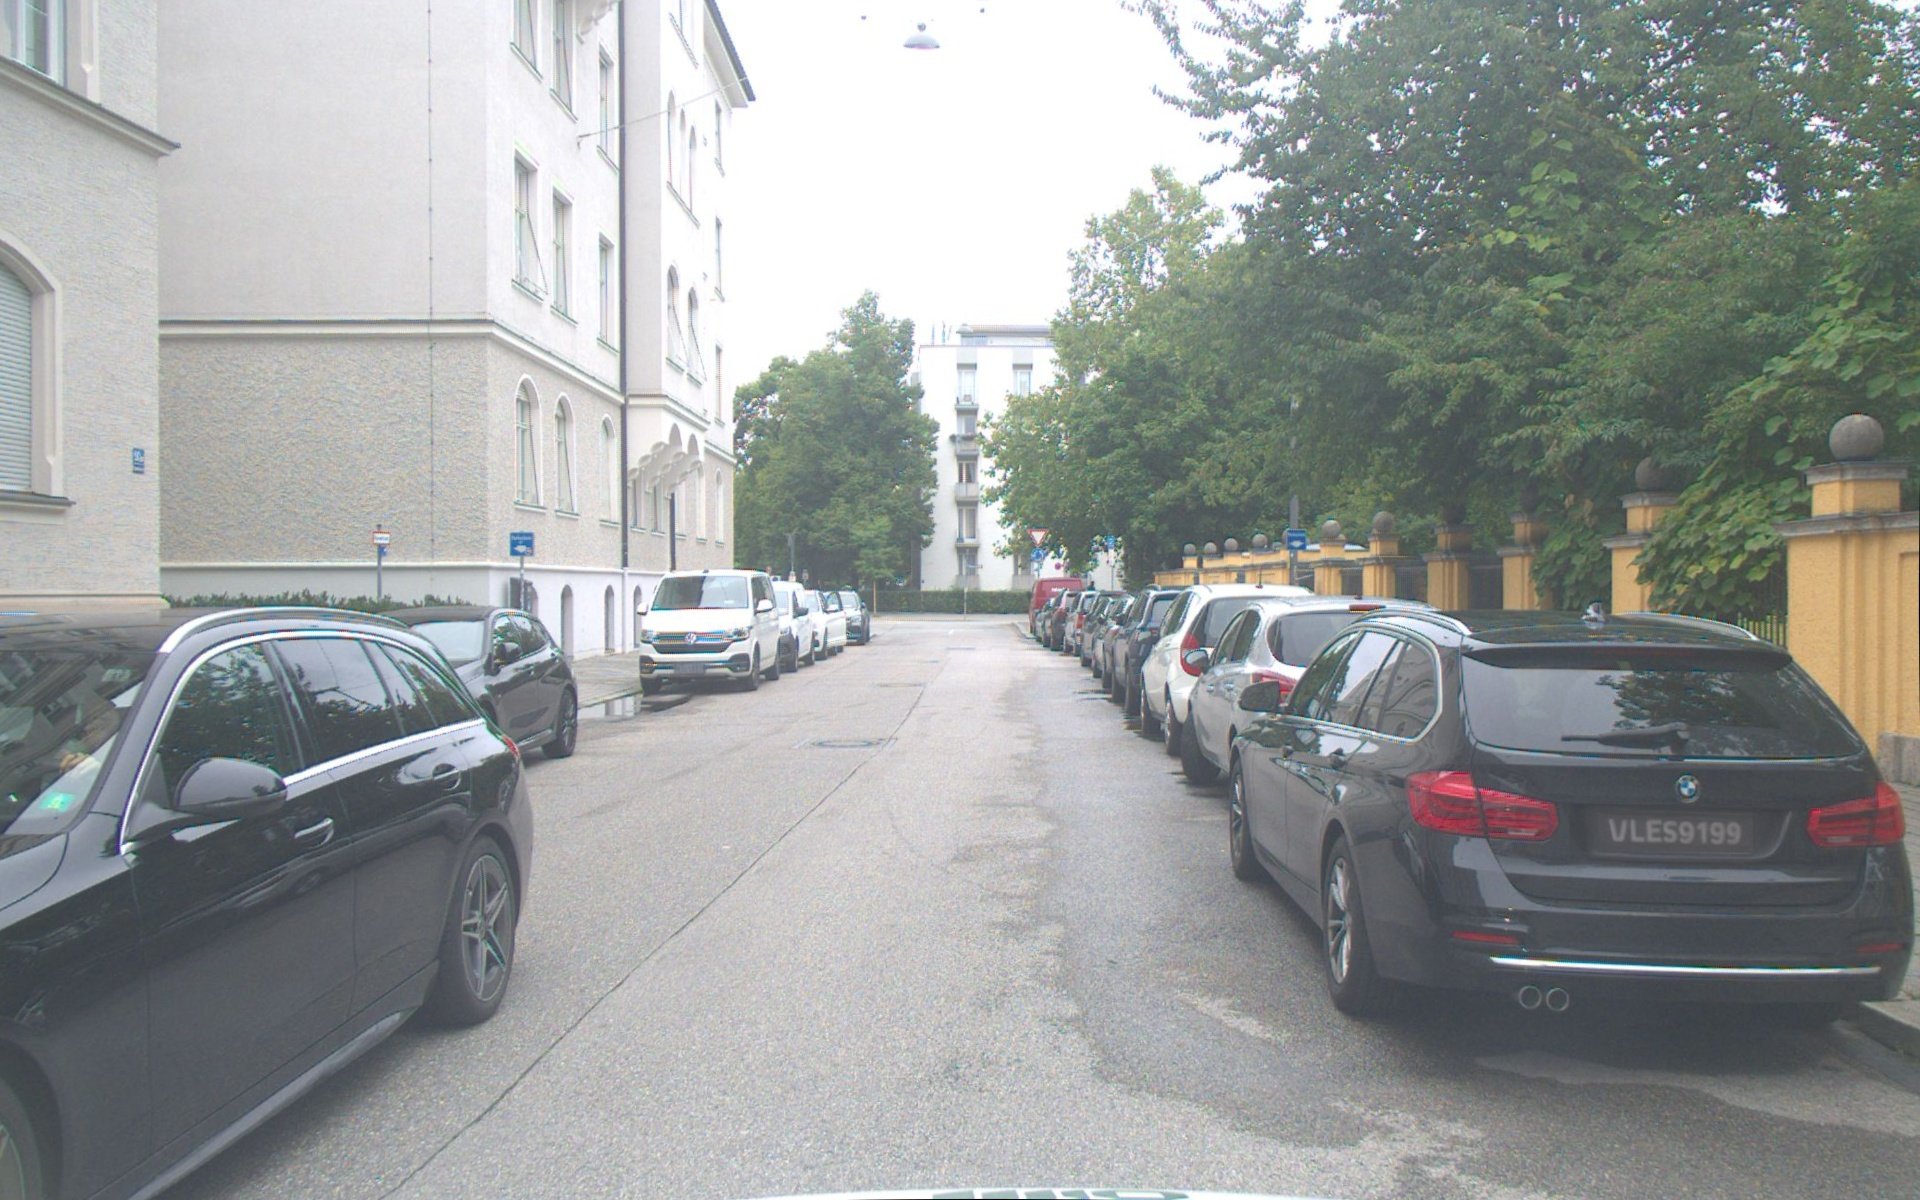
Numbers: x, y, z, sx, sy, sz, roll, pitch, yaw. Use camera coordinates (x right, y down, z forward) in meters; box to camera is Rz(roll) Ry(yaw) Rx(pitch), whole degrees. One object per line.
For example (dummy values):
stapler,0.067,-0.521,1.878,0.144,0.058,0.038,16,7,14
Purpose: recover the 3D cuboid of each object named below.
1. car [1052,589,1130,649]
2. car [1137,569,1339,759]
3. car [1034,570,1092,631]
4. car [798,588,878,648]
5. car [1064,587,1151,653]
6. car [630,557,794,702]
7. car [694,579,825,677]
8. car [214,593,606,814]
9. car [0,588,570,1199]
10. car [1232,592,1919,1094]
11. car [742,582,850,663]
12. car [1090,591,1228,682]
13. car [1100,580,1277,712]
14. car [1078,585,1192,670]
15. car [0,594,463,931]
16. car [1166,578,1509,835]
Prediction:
car,3.557,0.507,45.528,1.801,1.545,3.947,1,0,0
car,2.710,0.585,16.808,1.482,1.690,3.674,1,0,1
car,3.621,0.000,57.443,1.797,1.960,4.007,2,1,6
car,-3.766,0.529,51.874,1.973,1.662,4.415,-3,0,2
car,3.631,0.473,41.331,1.801,1.545,3.947,1,0,0
car,-4.109,0.438,28.187,1.847,2.164,4.707,-3,0,2
car,-4.078,0.527,34.327,1.973,1.802,4.415,-3,0,2
car,-4.572,0.767,14.497,1.798,1.525,4.276,-3,0,2
car,-2.561,0.732,4.324,1.835,1.453,4.411,-1,1,2
car,2.299,0.718,7.044,1.800,1.438,4.344,1,0,4
car,-3.911,0.502,40.134,1.973,1.756,4.276,-3,0,2
car,3.229,0.570,27.555,1.801,1.369,3.947,1,0,0
car,2.943,0.561,22.053,1.801,1.578,3.947,1,0,0
car,3.368,0.511,32.473,1.801,1.545,3.947,1,0,0
car,-4.615,0.763,9.671,1.798,1.463,4.277,-3,1,4
car,2.562,0.658,12.076,1.619,1.545,3.795,1,0,0
